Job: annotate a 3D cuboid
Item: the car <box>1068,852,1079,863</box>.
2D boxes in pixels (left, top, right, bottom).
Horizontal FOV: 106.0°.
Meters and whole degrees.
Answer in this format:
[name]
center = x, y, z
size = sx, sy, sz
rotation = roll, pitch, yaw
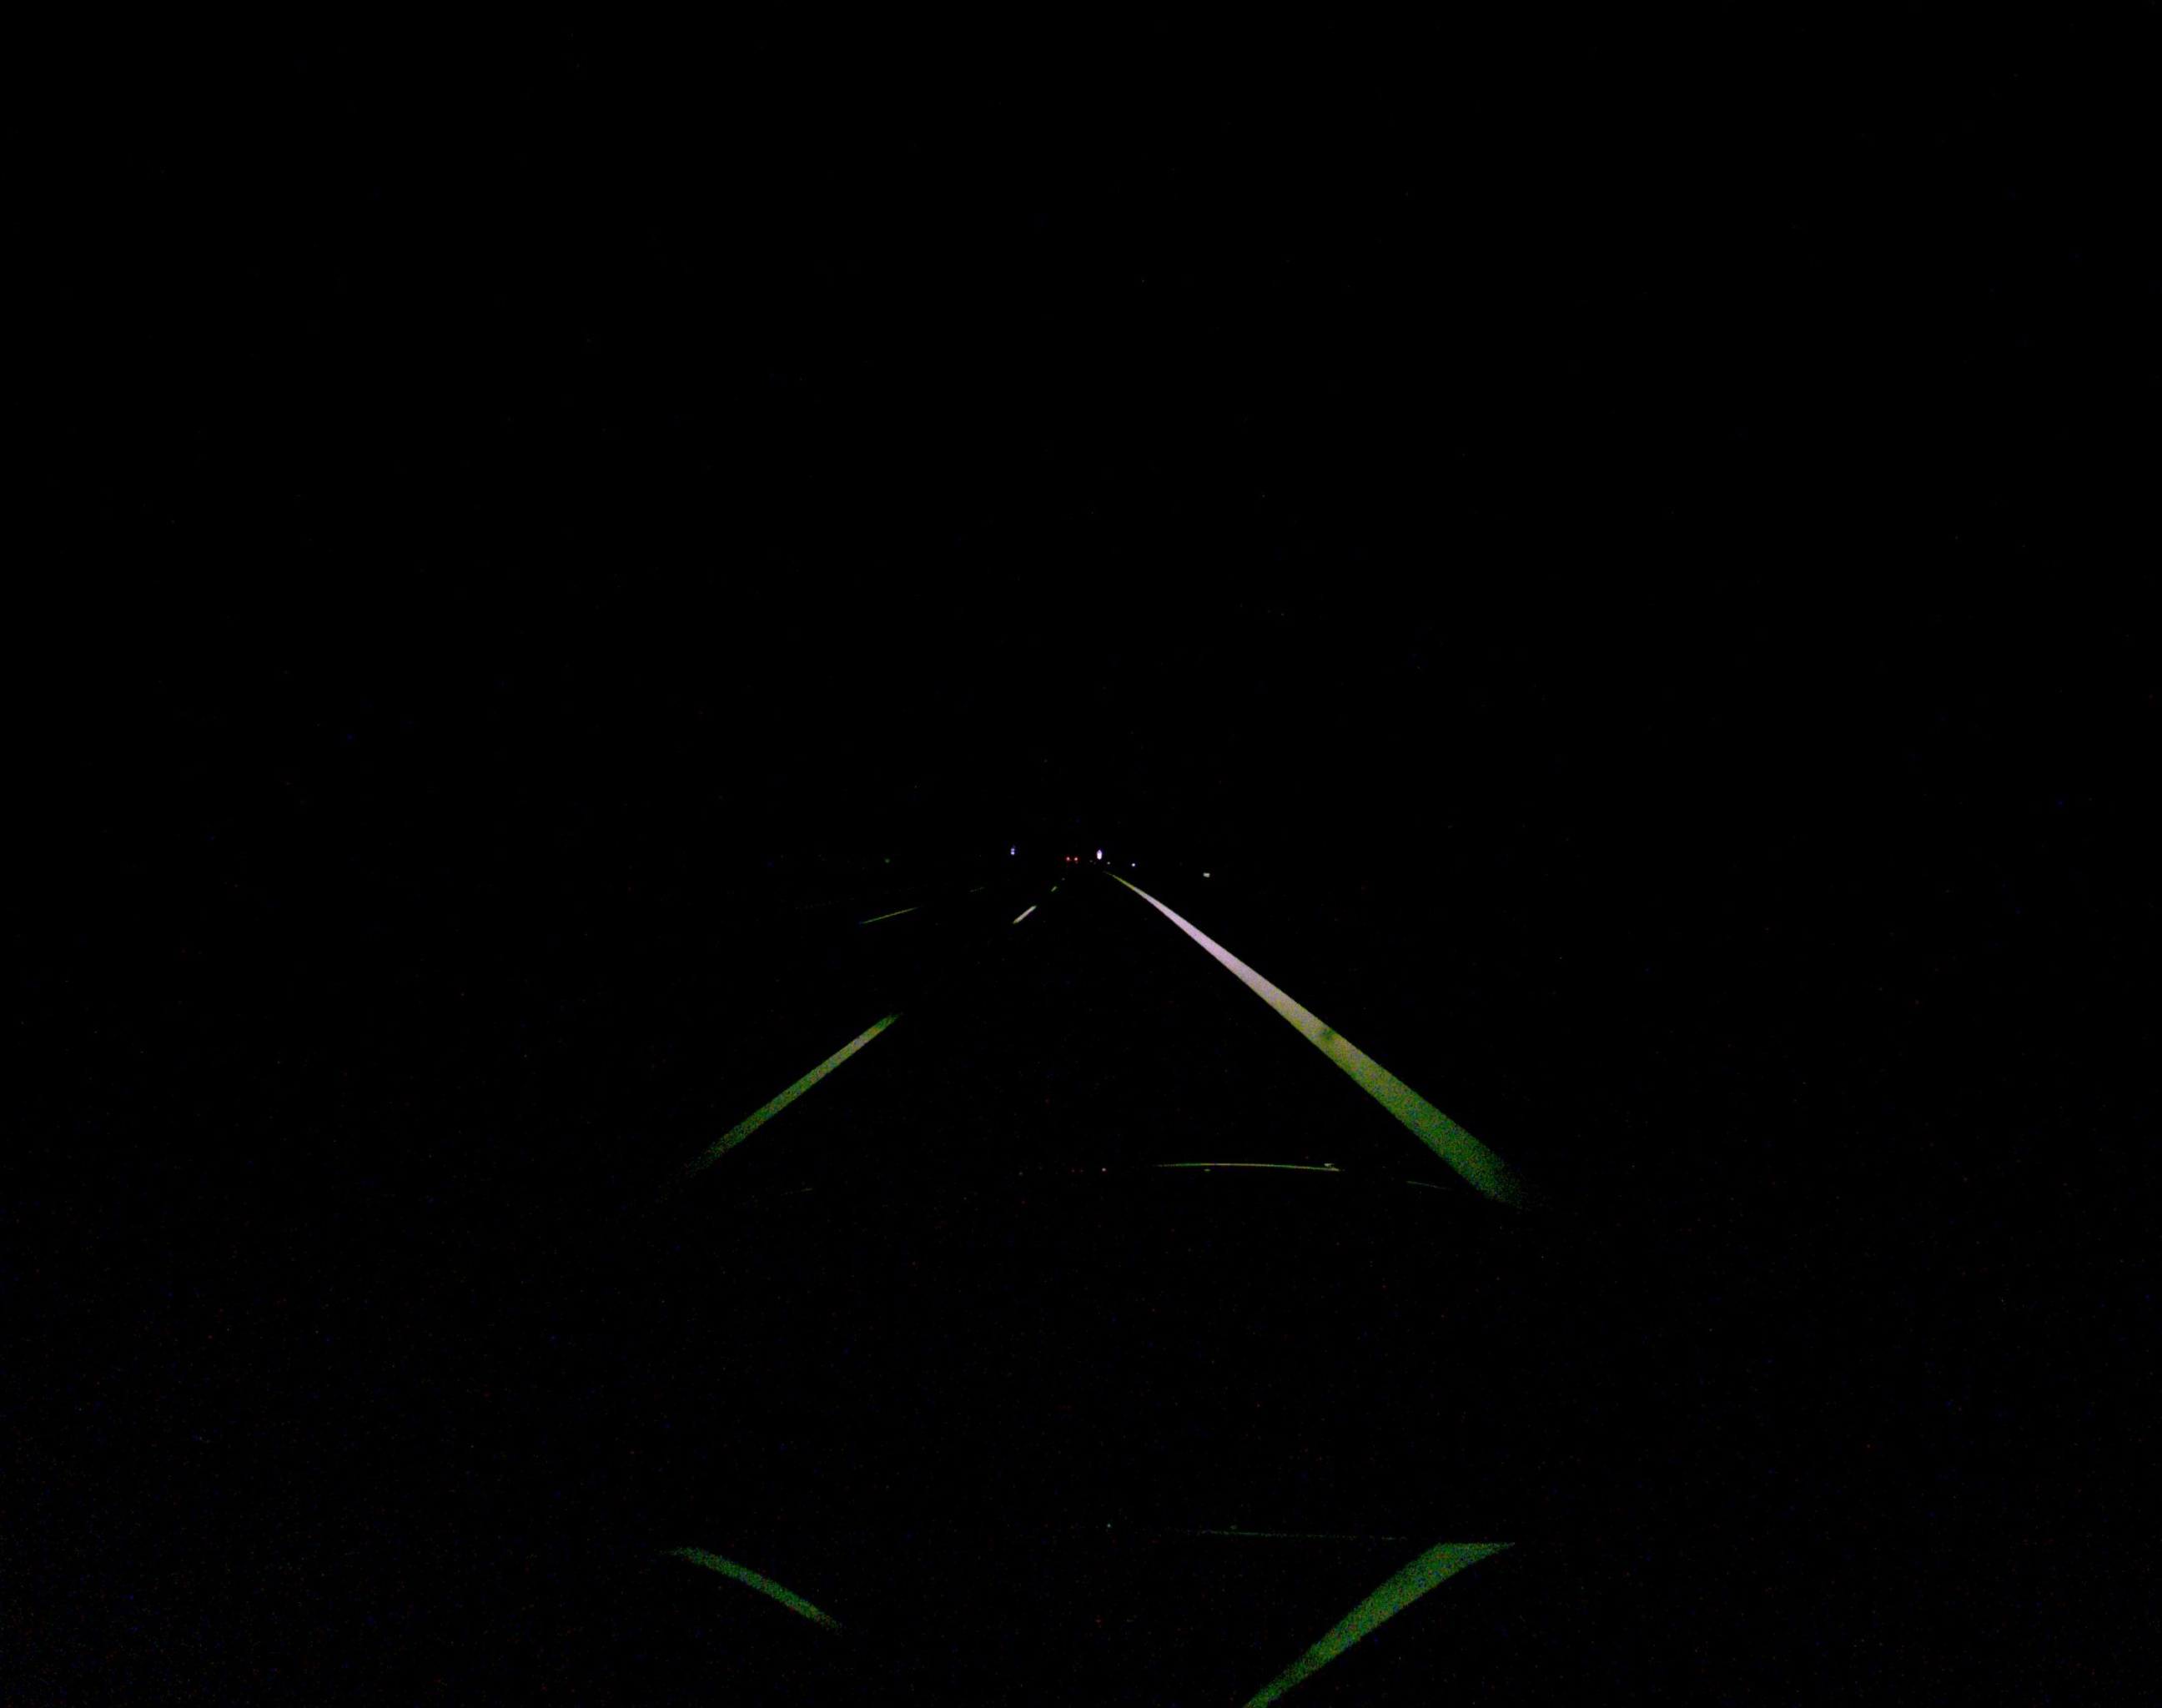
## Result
[car]
center = -1.718, 0.861, 187.816
size = 2.519, 2.553, 6.050
rotation = 1, 0, 0
